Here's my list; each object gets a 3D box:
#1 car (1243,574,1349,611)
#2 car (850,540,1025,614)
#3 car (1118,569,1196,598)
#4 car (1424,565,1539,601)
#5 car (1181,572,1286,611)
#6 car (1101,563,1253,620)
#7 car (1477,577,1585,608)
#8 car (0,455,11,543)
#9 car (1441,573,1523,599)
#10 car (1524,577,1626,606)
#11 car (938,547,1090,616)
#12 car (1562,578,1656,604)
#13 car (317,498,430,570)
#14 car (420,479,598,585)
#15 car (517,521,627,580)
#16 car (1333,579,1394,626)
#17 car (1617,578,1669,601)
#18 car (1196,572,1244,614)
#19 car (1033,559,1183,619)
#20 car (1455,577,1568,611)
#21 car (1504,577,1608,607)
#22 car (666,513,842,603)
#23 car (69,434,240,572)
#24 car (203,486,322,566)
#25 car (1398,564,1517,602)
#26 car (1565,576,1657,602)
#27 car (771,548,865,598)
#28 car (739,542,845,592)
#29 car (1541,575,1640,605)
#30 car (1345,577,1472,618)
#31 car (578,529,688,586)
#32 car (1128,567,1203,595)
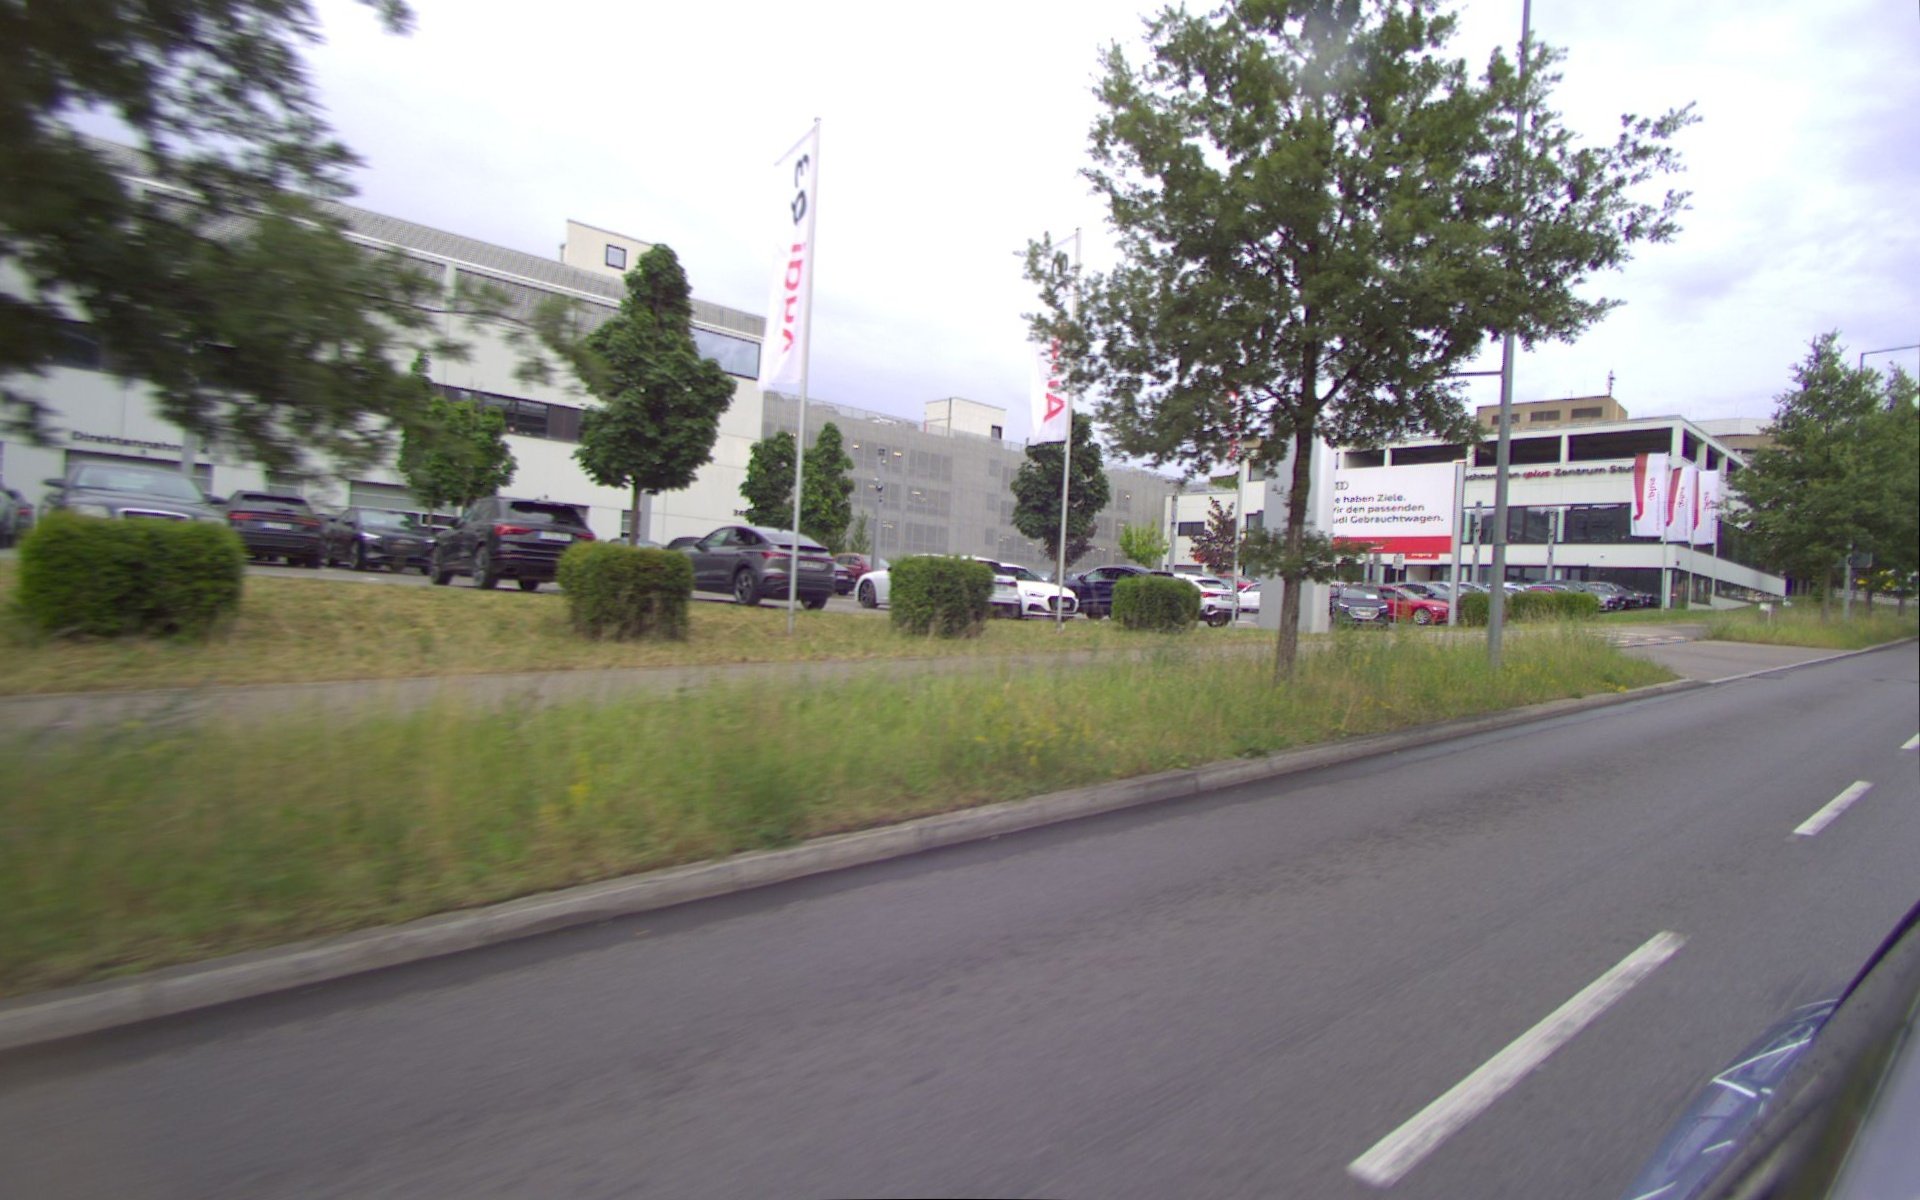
[{"bbox_3d":[16.199,-0.380,48.871,4.464,1.570,1.900,4,3,45],"label":"car"},{"bbox_3d":[-0.635,-0.565,24.242,1.663,1.614,4.527,-1,2,-42],"label":"car"},{"bbox_3d":[11.504,-1.010,59.328,1.796,1.613,4.282,-1,2,-43],"label":"car"},{"bbox_3d":[24.746,-0.832,48.138,1.898,1.547,4.469,-1,3,-41],"label":"car"},{"bbox_3d":[12.946,-0.435,48.104,4.465,1.569,1.900,5,4,45],"label":"car"},{"bbox_3d":[6.530,-0.293,30.661,4.102,1.614,1.920,1,2,41],"label":"car"},{"bbox_3d":[29.203,-0.419,51.878,1.898,1.474,4.469,-1,2,-41],"label":"car"},{"bbox_3d":[-20.676,-2.074,20.733,1.663,1.594,4.111,1,0,-42],"label":"car"},{"bbox_3d":[33.303,-0.898,64.597,1.796,1.570,4.282,-1,2,-43],"label":"car"},{"bbox_3d":[33.719,-0.491,55.541,1.858,1.444,4.406,-1,3,-41],"label":"car"},{"bbox_3d":[1.297,-0.471,25.946,1.661,1.614,4.117,-1,1,-37],"label":"car"},{"bbox_3d":[38.138,-0.559,59.568,1.806,1.395,4.325,-1,3,-43],"label":"car"},{"bbox_3d":[-14.885,-1.611,25.583,1.663,1.594,4.112,2,0,-42],"label":"car"},{"bbox_3d":[-7.955,-1.077,17.655,1.663,1.594,4.111,1,0,-42],"label":"car"},{"bbox_3d":[-11.374,-1.404,29.494,1.663,1.593,4.112,0,2,-42],"label":"car"},{"bbox_3d":[15.307,0.046,38.568,1.813,1.613,4.337,1,2,17],"label":"car"},{"bbox_3d":[43.580,-0.698,64.552,3.856,1.354,1.900,-1,2,-42],"label":"car"},{"bbox_3d":[11.125,-0.335,43.193,1.748,1.612,3.973,3,3,16],"label":"car"},{"bbox_3d":[4.219,-0.332,29.277,1.839,1.614,4.111,-1,1,-42],"label":"car"},{"bbox_3d":[27.070,-0.347,49.788,1.898,1.473,4.470,-1,3,-41],"label":"car"},{"bbox_3d":[31.811,-0.460,54.143,1.898,1.364,4.406,-1,4,-41],"label":"car"},{"bbox_3d":[-4.292,-0.792,20.637,1.663,1.629,4.111,2,0,-42],"label":"car"},{"bbox_3d":[-11.562,-1.229,14.410,1.663,1.594,4.427,1,0,-42],"label":"car"},{"bbox_3d":[-16.387,-1.655,23.703,1.794,1.594,4.111,1,0,-42],"label":"car"},{"bbox_3d":[22.648,-0.825,46.213,1.898,1.570,4.469,-1,3,-41],"label":"car"},{"bbox_3d":[39.971,-0.685,62.216,1.898,1.500,4.405,-1,2,-41],"label":"car"},{"bbox_3d":[-5.823,-1.091,41.161,1.964,1.900,3.995,1,0,-40],"label":"car"},{"bbox_3d":[-5.787,-1.109,34.575,1.664,1.593,4.112,-1,2,-42],"label":"car"},{"bbox_3d":[35.887,-0.610,57.669,2.005,1.519,4.406,-1,3,-41],"label":"car"},{"bbox_3d":[18.557,-0.145,42.017,4.463,1.570,1.900,2,2,45],"label":"car"},{"bbox_3d":[-10.076,-1.293,31.015,1.663,1.594,4.112,1,1,-42],"label":"car"},{"bbox_3d":[12.543,-1.179,62.075,1.796,1.613,4.282,-1,2,-43],"label":"car"}]
